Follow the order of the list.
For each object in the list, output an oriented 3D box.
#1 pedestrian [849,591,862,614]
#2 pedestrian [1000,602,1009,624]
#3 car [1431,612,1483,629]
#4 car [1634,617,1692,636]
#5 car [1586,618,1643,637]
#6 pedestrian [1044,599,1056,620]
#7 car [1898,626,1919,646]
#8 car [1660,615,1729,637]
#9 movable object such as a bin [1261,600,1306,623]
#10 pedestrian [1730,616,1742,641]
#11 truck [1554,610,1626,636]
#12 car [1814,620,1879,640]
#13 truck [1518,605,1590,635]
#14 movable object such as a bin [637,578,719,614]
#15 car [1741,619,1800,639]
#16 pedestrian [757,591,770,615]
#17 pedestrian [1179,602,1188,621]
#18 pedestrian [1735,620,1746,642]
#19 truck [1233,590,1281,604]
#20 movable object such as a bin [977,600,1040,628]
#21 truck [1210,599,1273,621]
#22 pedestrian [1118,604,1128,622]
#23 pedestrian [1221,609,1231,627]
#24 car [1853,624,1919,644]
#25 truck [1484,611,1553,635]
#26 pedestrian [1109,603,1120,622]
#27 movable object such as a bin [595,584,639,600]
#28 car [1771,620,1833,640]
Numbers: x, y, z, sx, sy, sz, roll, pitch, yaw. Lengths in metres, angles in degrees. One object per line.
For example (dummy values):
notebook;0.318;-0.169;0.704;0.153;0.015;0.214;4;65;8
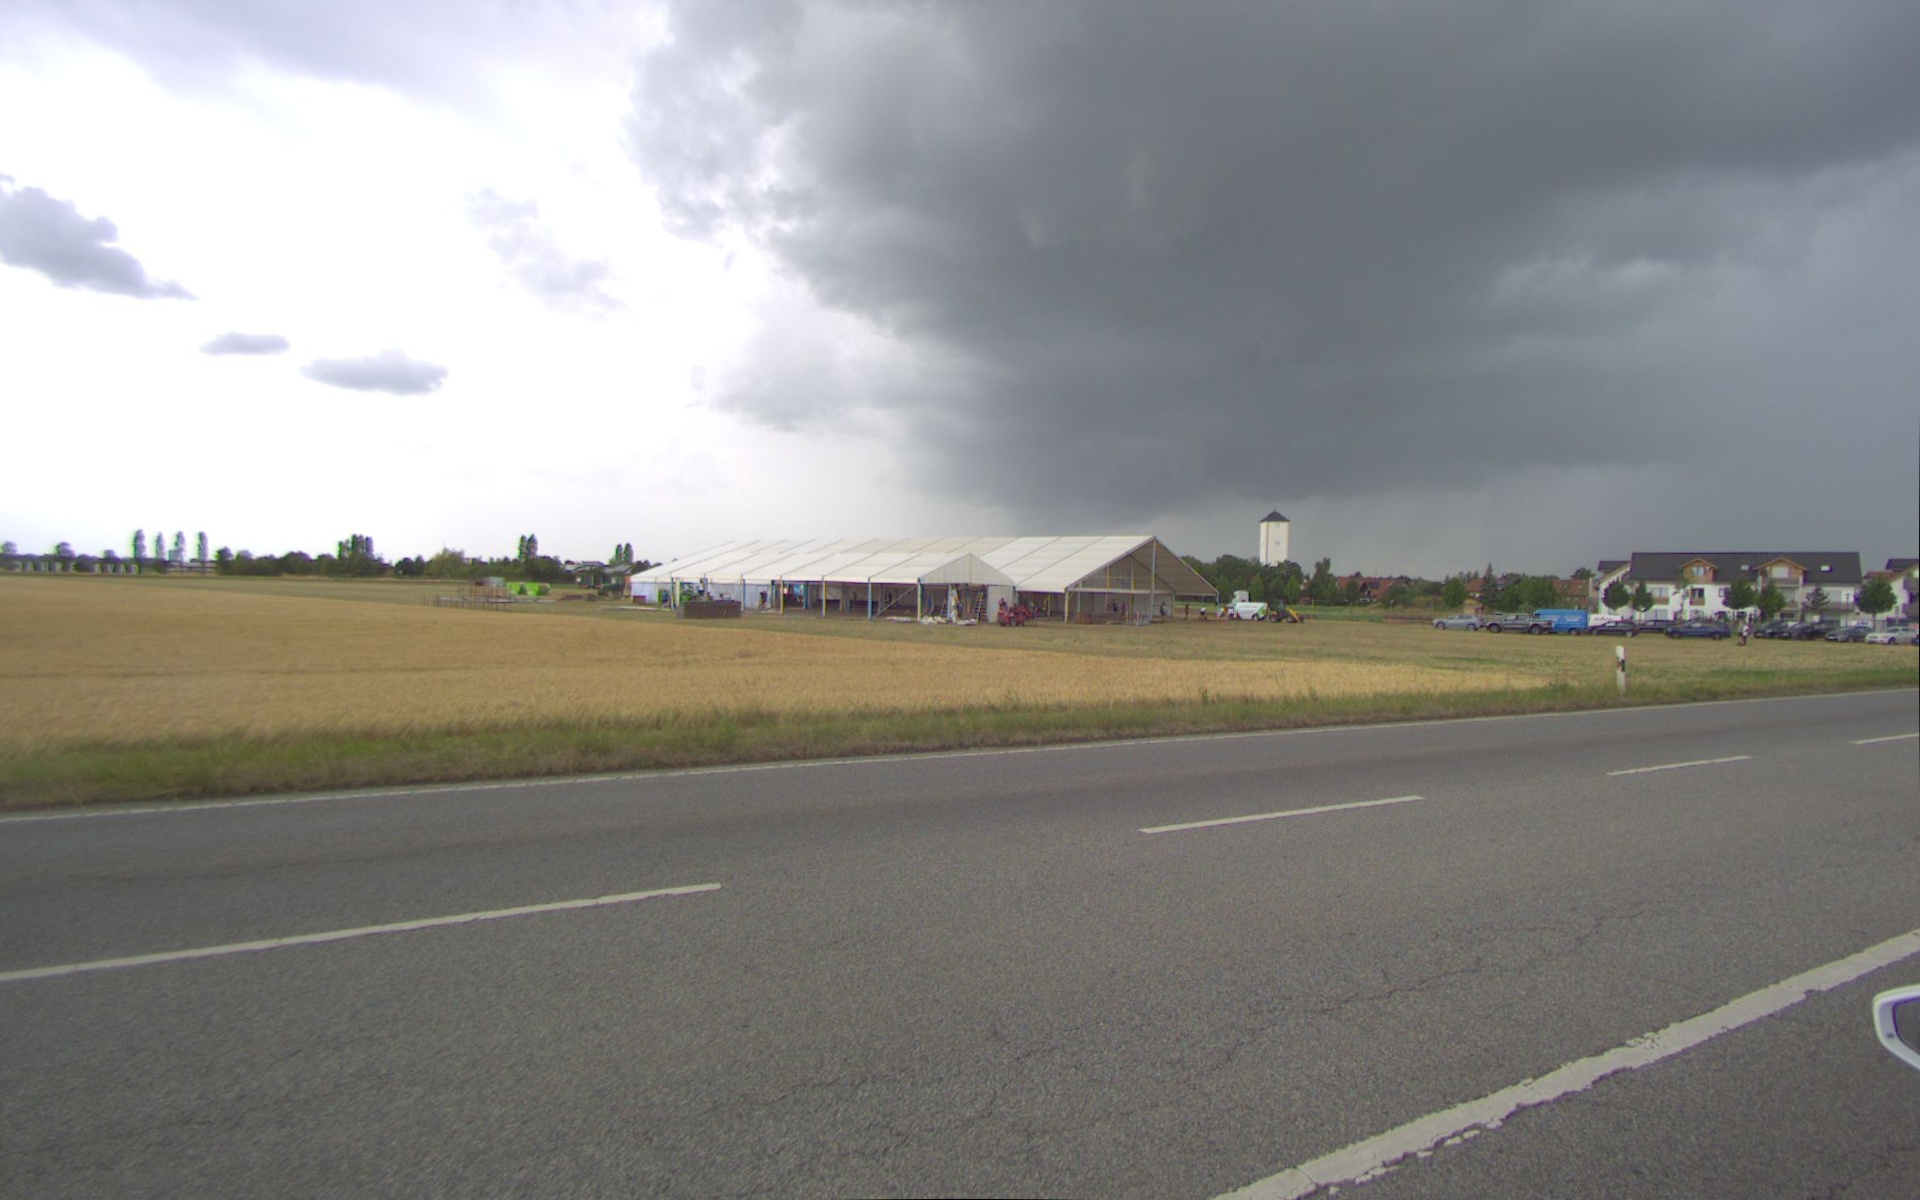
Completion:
pedestrian;-10.063;0.251;96.963;0.930;2.130;0.860;1;0;-33
pedestrian;3.425;1.021;77.494;0.463;1.649;0.581;1;0;39
car;47.199;1.947;95.429;4.235;1.481;1.886;1;0;34
car;69.705;2.614;99.599;4.570;1.720;1.991;1;0;40
car;58.787;2.460;90.297;4.105;1.539;1.991;1;0;40
pedestrian;8.548;0.895;95.550;0.754;2.040;0.876;2;0;29
car;75.704;2.831;78.126;4.138;1.465;1.995;1;0;-12
car;63.360;2.236;86.682;4.659;1.720;1.991;1;0;40
movable object such as a bin;32.944;1.181;102.263;3.928;2.273;1.881;1;0;32
pedestrian;56.840;2.084;73.552;0.673;1.809;0.543;1;0;-42
truck;59.454;2.138;94.794;5.493;2.226;2.597;1;0;37
car;73.608;2.477;83.440;4.138;1.556;1.995;1;0;-12
truck;53.434;1.775;90.401;5.378;2.478;2.385;1;0;37
movable object such as a bin;-27.567;-0.432;98.019;7.466;3.219;4.140;2;1;39
car;72.902;2.606;90.344;4.138;1.650;1.995;1;0;-12
pedestrian;-17.064;0.267;87.234;1.005;2.040;0.806;1;0;-3
pedestrian;22.432;1.110;100.697;0.616;1.890;0.706;2;0;39
pedestrian;57.546;2.280;74.026;0.582;1.576;0.623;1;0;41
truck;57.191;-0.542;193.688;3.257;2.563;9.312;1;0;-26
movable object such as a bin;3.591;1.026;73.971;2.555;1.889;4.458;1;0;36
truck;30.343;1.063;108.320;5.960;2.246;2.714;1;0;33
pedestrian;15.567;1.240;96.127;0.646;1.767;0.724;2;0;39
pedestrian;26.981;1.784;101.720;0.681;1.799;0.690;2;0;44
car;74.617;2.724;80.838;4.138;1.465;1.995;1;0;-12
truck;49.418;2.003;88.893;5.155;1.946;2.106;1;0;34
pedestrian;14.931;1.215;97.010;0.721;1.803;0.757;2;0;39
movable object such as a bin;-48.773;-1.102;142.991;2.528;2.040;5.387;2;0;40
car;72.433;2.578;86.409;4.138;1.650;1.995;1;0;-12
